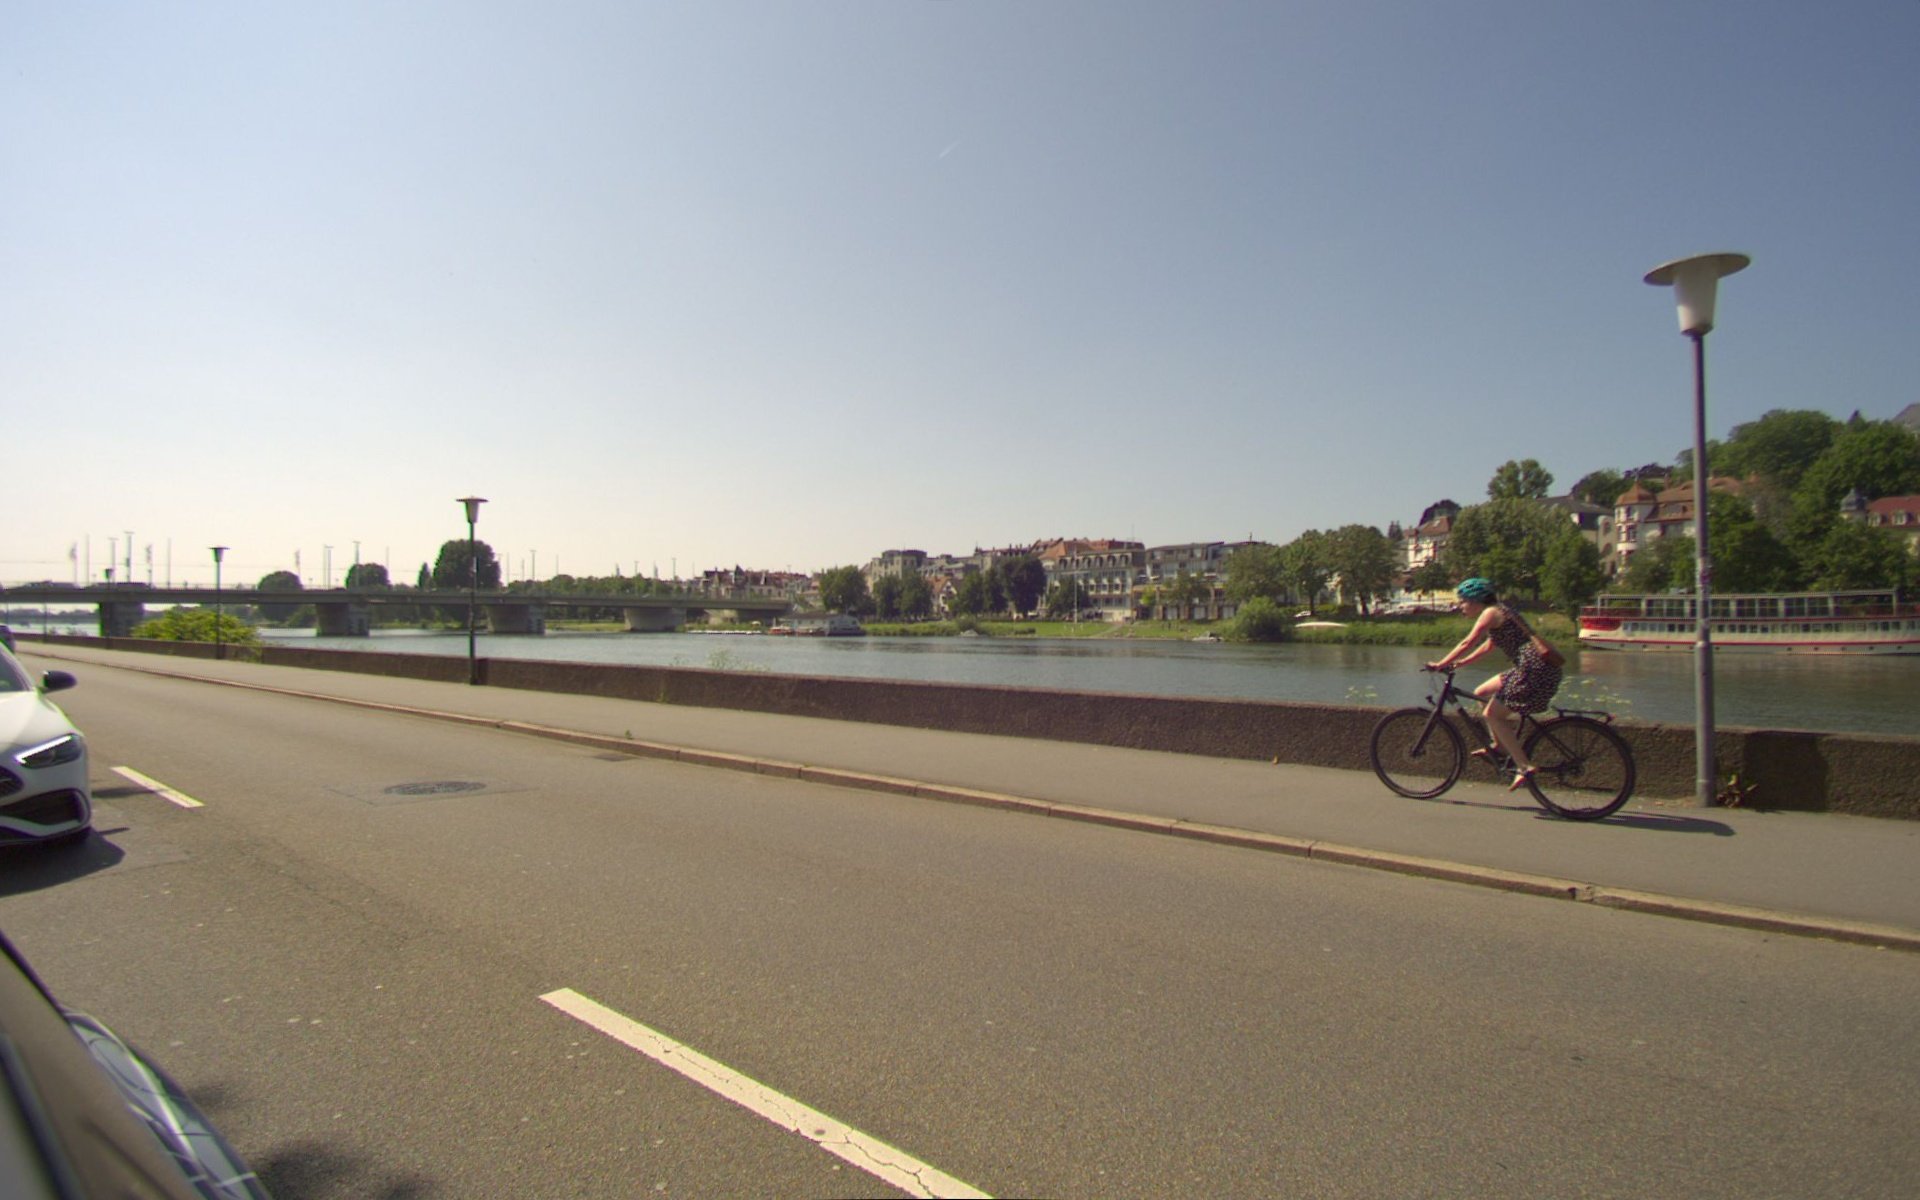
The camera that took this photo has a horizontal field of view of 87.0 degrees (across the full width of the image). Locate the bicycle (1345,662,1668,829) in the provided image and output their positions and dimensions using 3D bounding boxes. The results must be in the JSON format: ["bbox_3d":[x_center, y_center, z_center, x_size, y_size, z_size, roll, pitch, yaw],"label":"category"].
[{"bbox_3d":[3.927,0.989,7.394,1.984,1.019,0.626,-1,-3,41],"label":"bicycle"}]

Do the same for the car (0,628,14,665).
[{"bbox_3d":[-39.735,1.843,40.914,4.043,1.453,1.713,-1,-3,41],"label":"car"}]

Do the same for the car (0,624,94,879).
[{"bbox_3d":[-7.449,0.912,6.869,4.551,1.430,1.806,-2,-1,42],"label":"car"}]

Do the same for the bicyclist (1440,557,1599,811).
[{"bbox_3d":[4.009,0.575,7.264,0.870,1.686,0.631,-2,-3,41],"label":"bicyclist"}]
